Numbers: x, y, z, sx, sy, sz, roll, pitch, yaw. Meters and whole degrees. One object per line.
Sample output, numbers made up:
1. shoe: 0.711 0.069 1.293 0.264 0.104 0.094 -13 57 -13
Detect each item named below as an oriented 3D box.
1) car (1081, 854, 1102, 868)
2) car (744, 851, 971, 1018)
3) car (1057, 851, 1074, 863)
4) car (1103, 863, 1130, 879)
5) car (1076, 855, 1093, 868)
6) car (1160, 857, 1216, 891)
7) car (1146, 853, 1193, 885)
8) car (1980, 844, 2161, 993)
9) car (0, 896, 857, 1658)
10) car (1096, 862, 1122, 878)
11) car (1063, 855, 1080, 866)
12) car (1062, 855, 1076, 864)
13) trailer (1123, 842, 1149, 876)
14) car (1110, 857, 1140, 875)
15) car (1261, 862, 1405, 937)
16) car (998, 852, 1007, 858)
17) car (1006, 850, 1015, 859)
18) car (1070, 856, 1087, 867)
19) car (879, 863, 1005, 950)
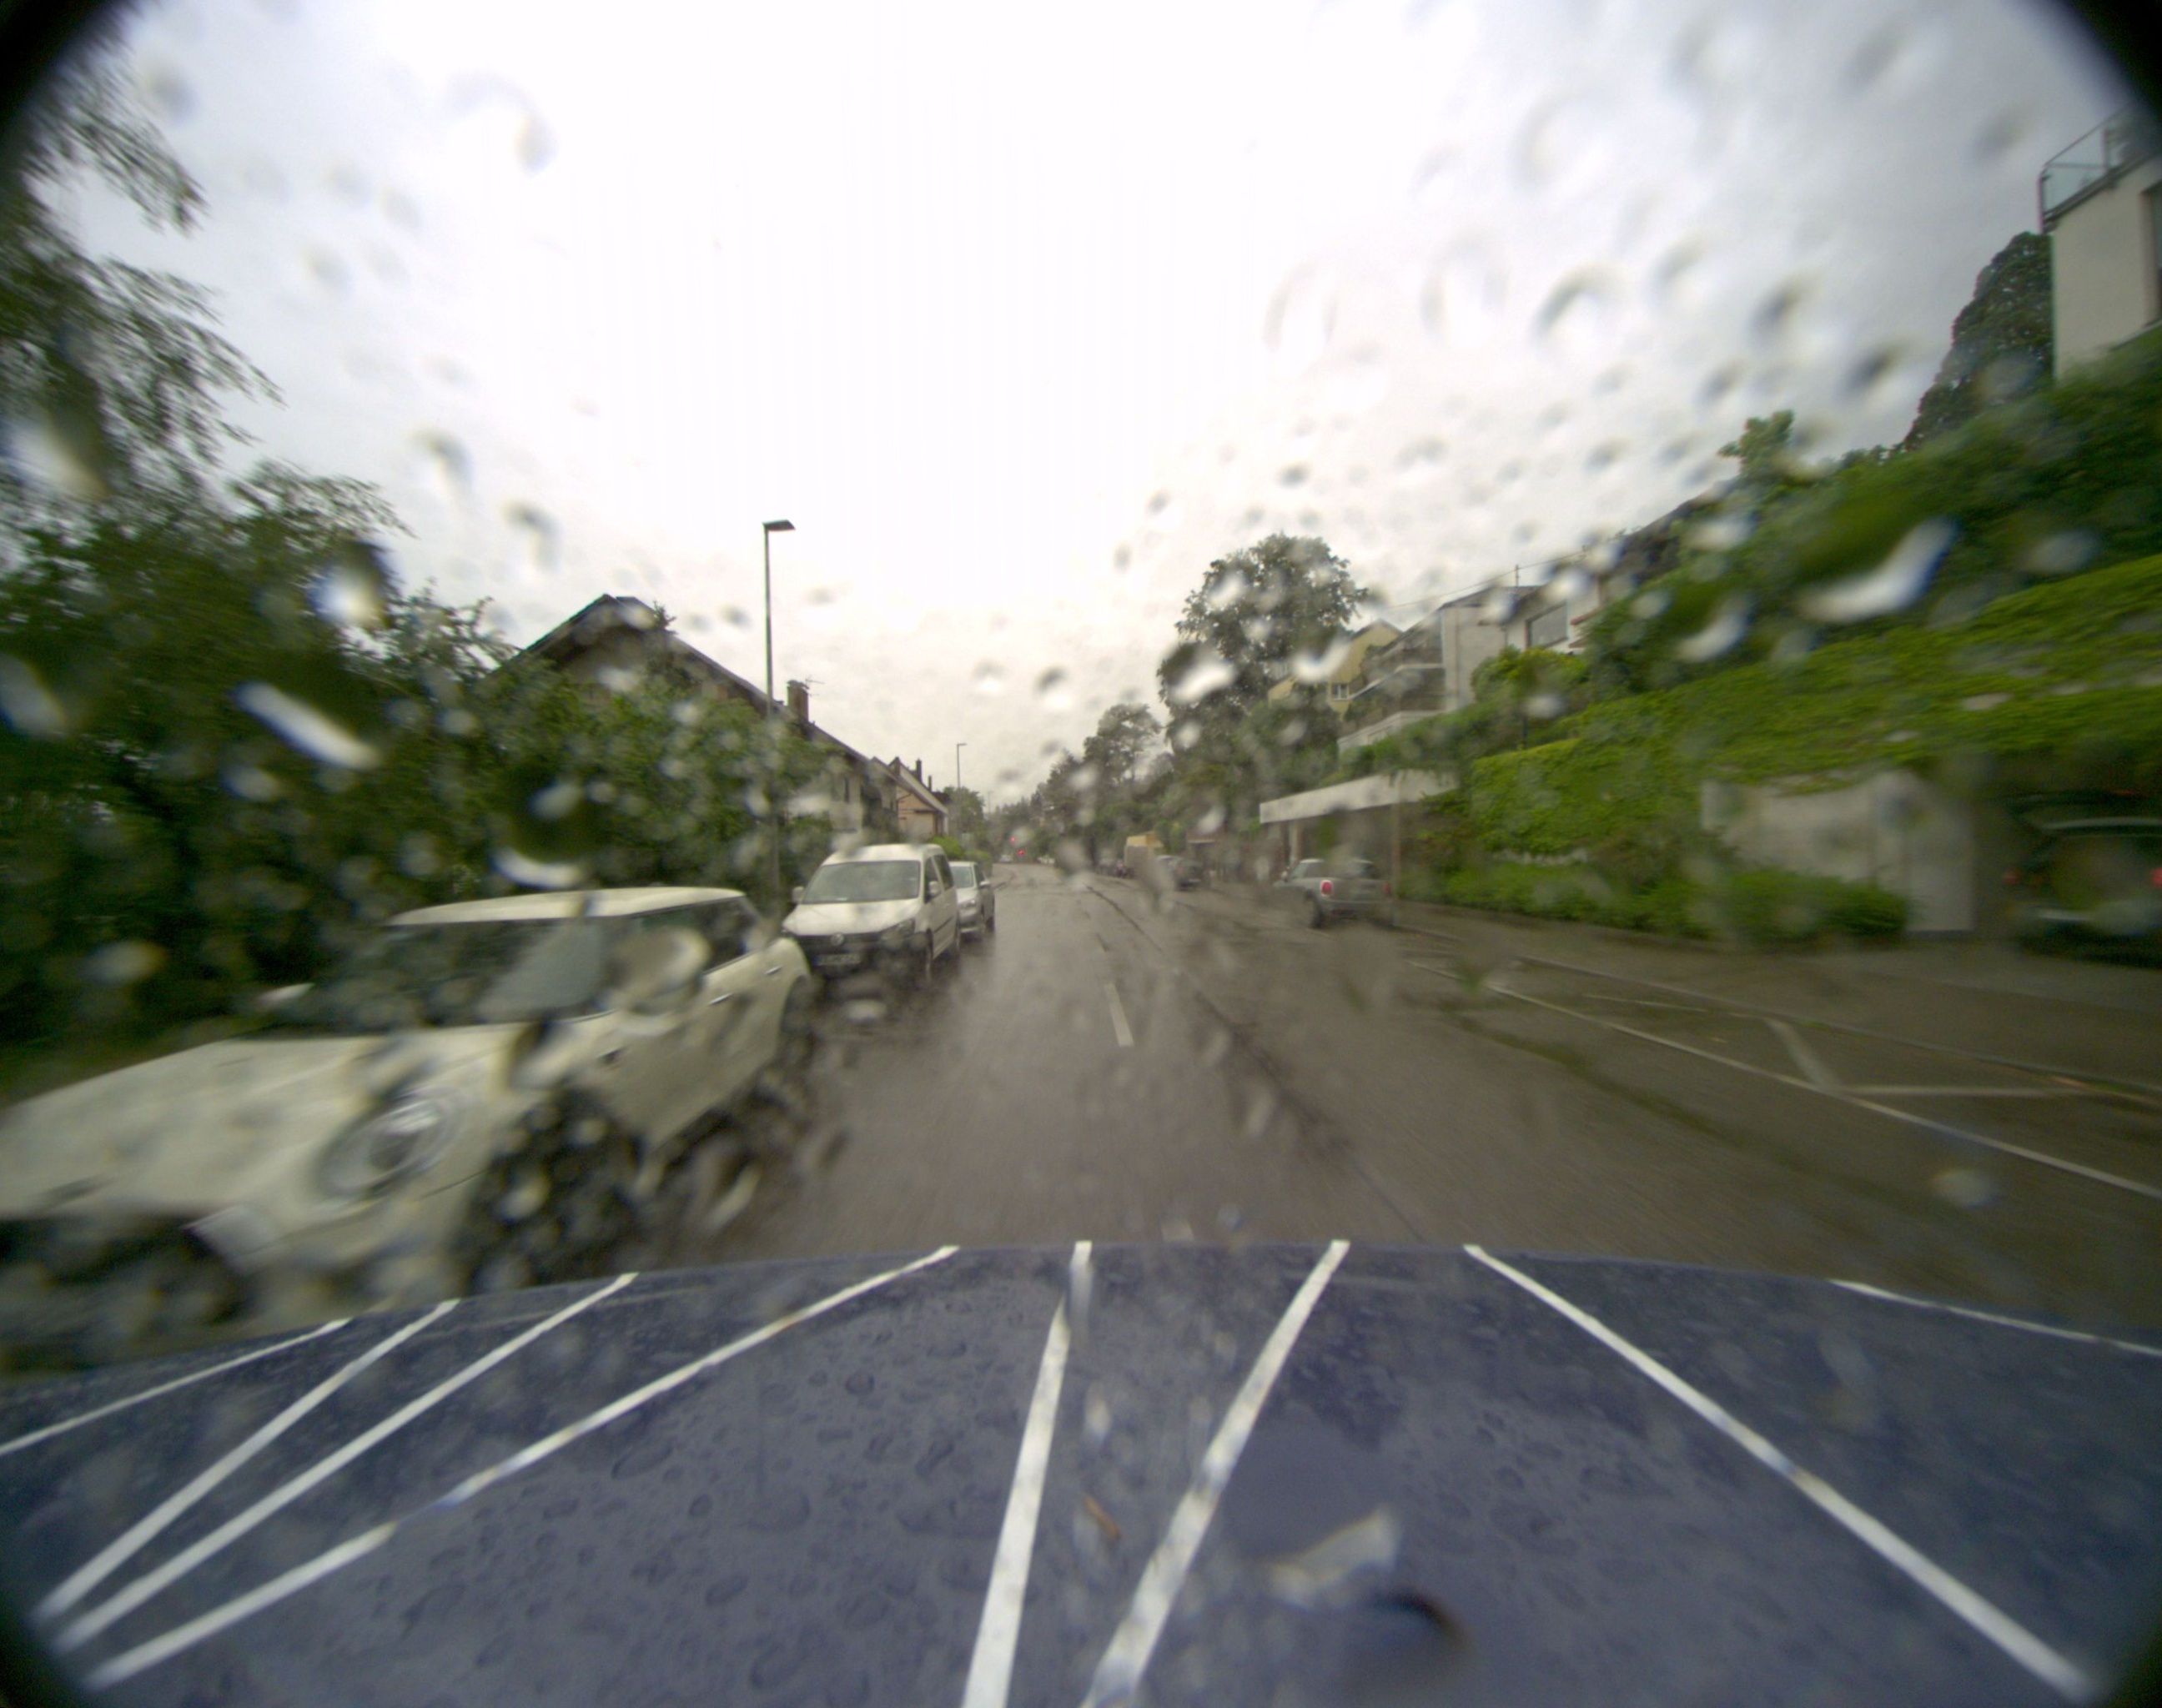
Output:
1. car: 1.171 0.822 89.054 1.880 1.616 4.591 2 -1 -6
2. car: -2.767 0.873 10.526 1.789 1.780 4.360 -1 1 0
3. car: -2.473 0.493 121.595 2.165 1.908 5.319 0 0 -7
4. car: 3.080 1.466 66.271 1.791 1.407 4.215 0 0 -5
5. car: 0.385 0.892 94.915 1.747 1.552 4.107 1 0 -5
6. car: 4.785 0.880 34.307 1.761 1.401 3.703 2 0 -3
7. car: 4.567 0.777 39.715 1.761 1.530 3.755 2 0 -3
8. car: 11.953 0.578 7.556 3.766 1.376 1.866 -1 0 1
9. car: -2.621 1.056 3.755 1.713 1.395 4.203 -1 0 0
10. car: 2.599 1.466 72.420 1.791 1.446 4.753 1 -1 -6
11. car: -1.419 0.903 111.041 1.914 1.472 4.752 1 0 -6
12. car: -1.872 0.823 116.146 1.569 1.357 3.904 1 0 -9
13. trailer: 3.955 0.361 54.616 1.540 2.385 3.072 1 0 -1
14. car: 3.377 0.923 59.405 1.813 1.341 3.774 0 0 -5
15. car: 5.409 0.920 16.843 1.761 1.394 3.769 1 0 -3
16. car: -24.654 0.322 237.513 2.164 1.944 4.911 1 0 -12
17. car: -20.551 0.097 220.384 2.087 2.464 4.848 1 0 -12
18. car: -0.366 0.974 100.135 1.722 1.357 4.080 1 -1 -9
19. car: -2.763 0.990 16.086 1.794 1.451 4.308 -1 1 0
